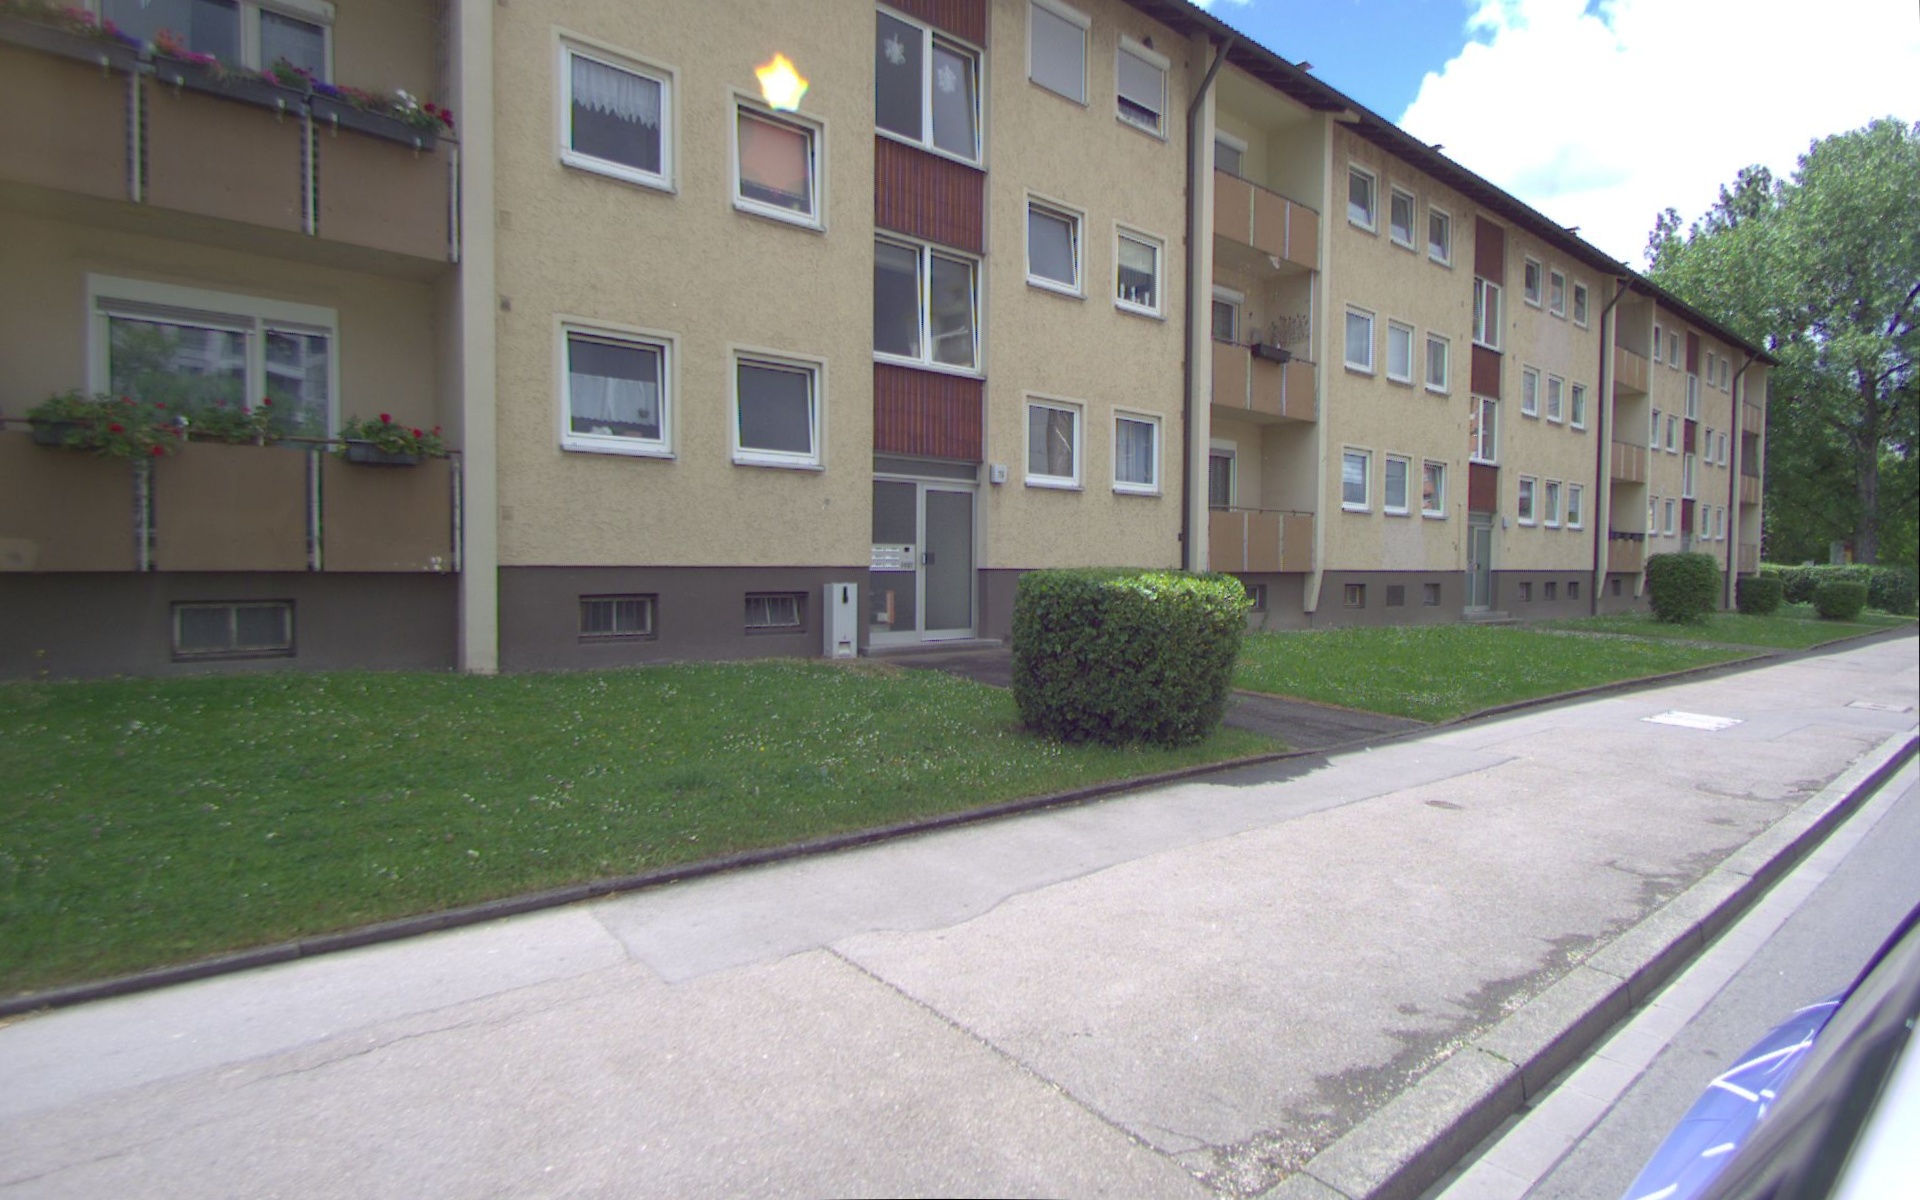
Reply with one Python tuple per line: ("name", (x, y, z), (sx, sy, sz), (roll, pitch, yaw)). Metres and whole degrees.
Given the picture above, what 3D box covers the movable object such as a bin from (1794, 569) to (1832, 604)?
("movable object such as a bin", (36.771, -0.580, 43.616), (0.749, 1.456, 1.099), (1, 2, -43))
